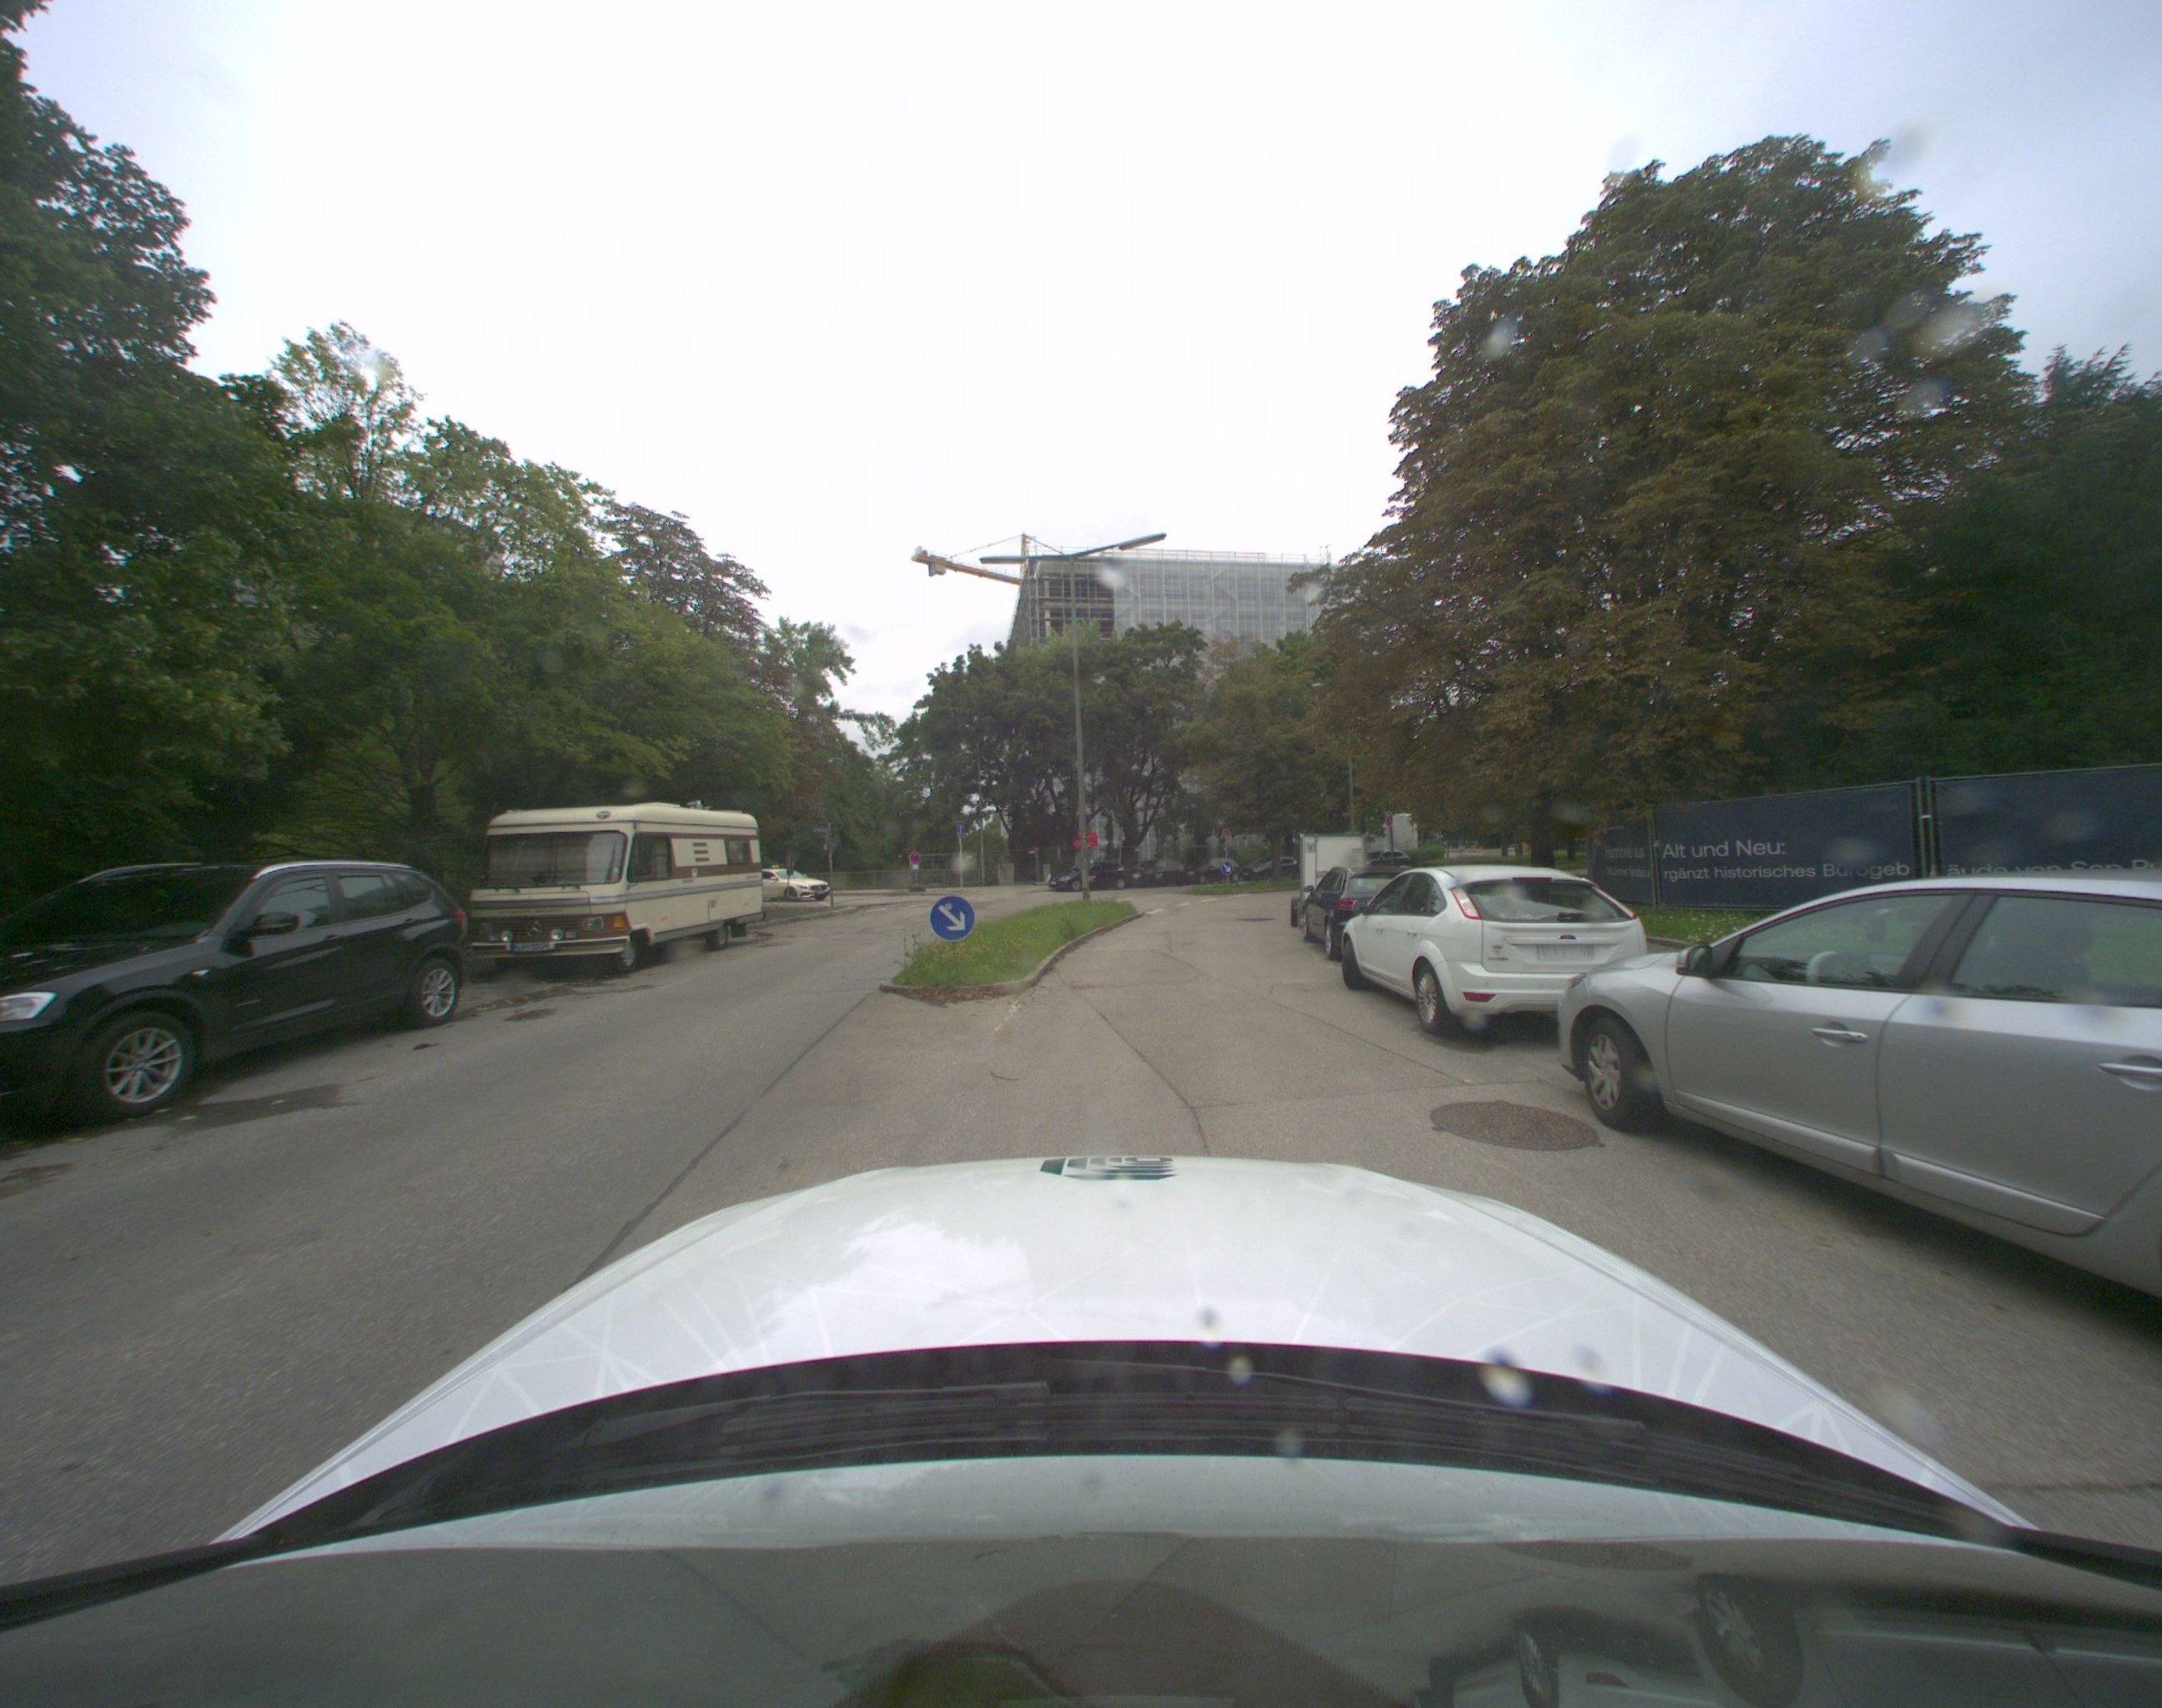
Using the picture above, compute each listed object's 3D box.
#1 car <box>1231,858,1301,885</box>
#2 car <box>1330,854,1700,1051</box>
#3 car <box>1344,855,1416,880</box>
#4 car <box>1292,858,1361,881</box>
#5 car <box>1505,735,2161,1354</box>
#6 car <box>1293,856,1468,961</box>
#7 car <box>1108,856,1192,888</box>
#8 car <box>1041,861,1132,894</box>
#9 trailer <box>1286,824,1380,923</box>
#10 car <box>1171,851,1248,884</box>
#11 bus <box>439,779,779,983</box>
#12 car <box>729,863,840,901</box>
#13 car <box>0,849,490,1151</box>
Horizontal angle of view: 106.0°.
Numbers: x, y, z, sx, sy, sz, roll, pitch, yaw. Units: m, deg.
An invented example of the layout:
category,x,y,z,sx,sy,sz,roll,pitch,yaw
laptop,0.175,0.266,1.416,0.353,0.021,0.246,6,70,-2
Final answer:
category,x,y,z,sx,sy,sz,roll,pitch,yaw
car,10.990,1.024,48.353,4.023,1.461,1.820,-1,-2,-36
car,4.006,0.794,8.431,1.759,1.486,4.225,-2,-1,4
car,19.526,0.889,53.189,4.403,1.606,1.876,1,-2,-25
car,15.445,0.969,51.170,4.234,1.383,1.783,-1,-1,-33
car,3.968,0.546,3.364,1.988,1.728,4.445,0,-1,-2
car,4.874,0.803,13.908,1.861,1.437,4.337,-3,-1,8
car,3.598,0.907,42.400,4.017,1.541,1.978,-1,-1,-36
car,0.282,1.108,39.949,4.060,1.432,1.979,-1,1,-35
trailer,5.987,0.448,19.220,1.794,2.014,4.856,-2,-1,18
car,7.183,0.739,45.516,4.017,1.706,1.978,-1,-2,-36
bus,-7.445,0.391,13.870,2.307,2.699,5.735,-2,-1,1
car,-13.289,1.254,36.404,4.792,1.545,1.905,-2,-1,28
car,-7.051,0.852,6.507,1.774,1.649,4.449,-1,-1,-7
